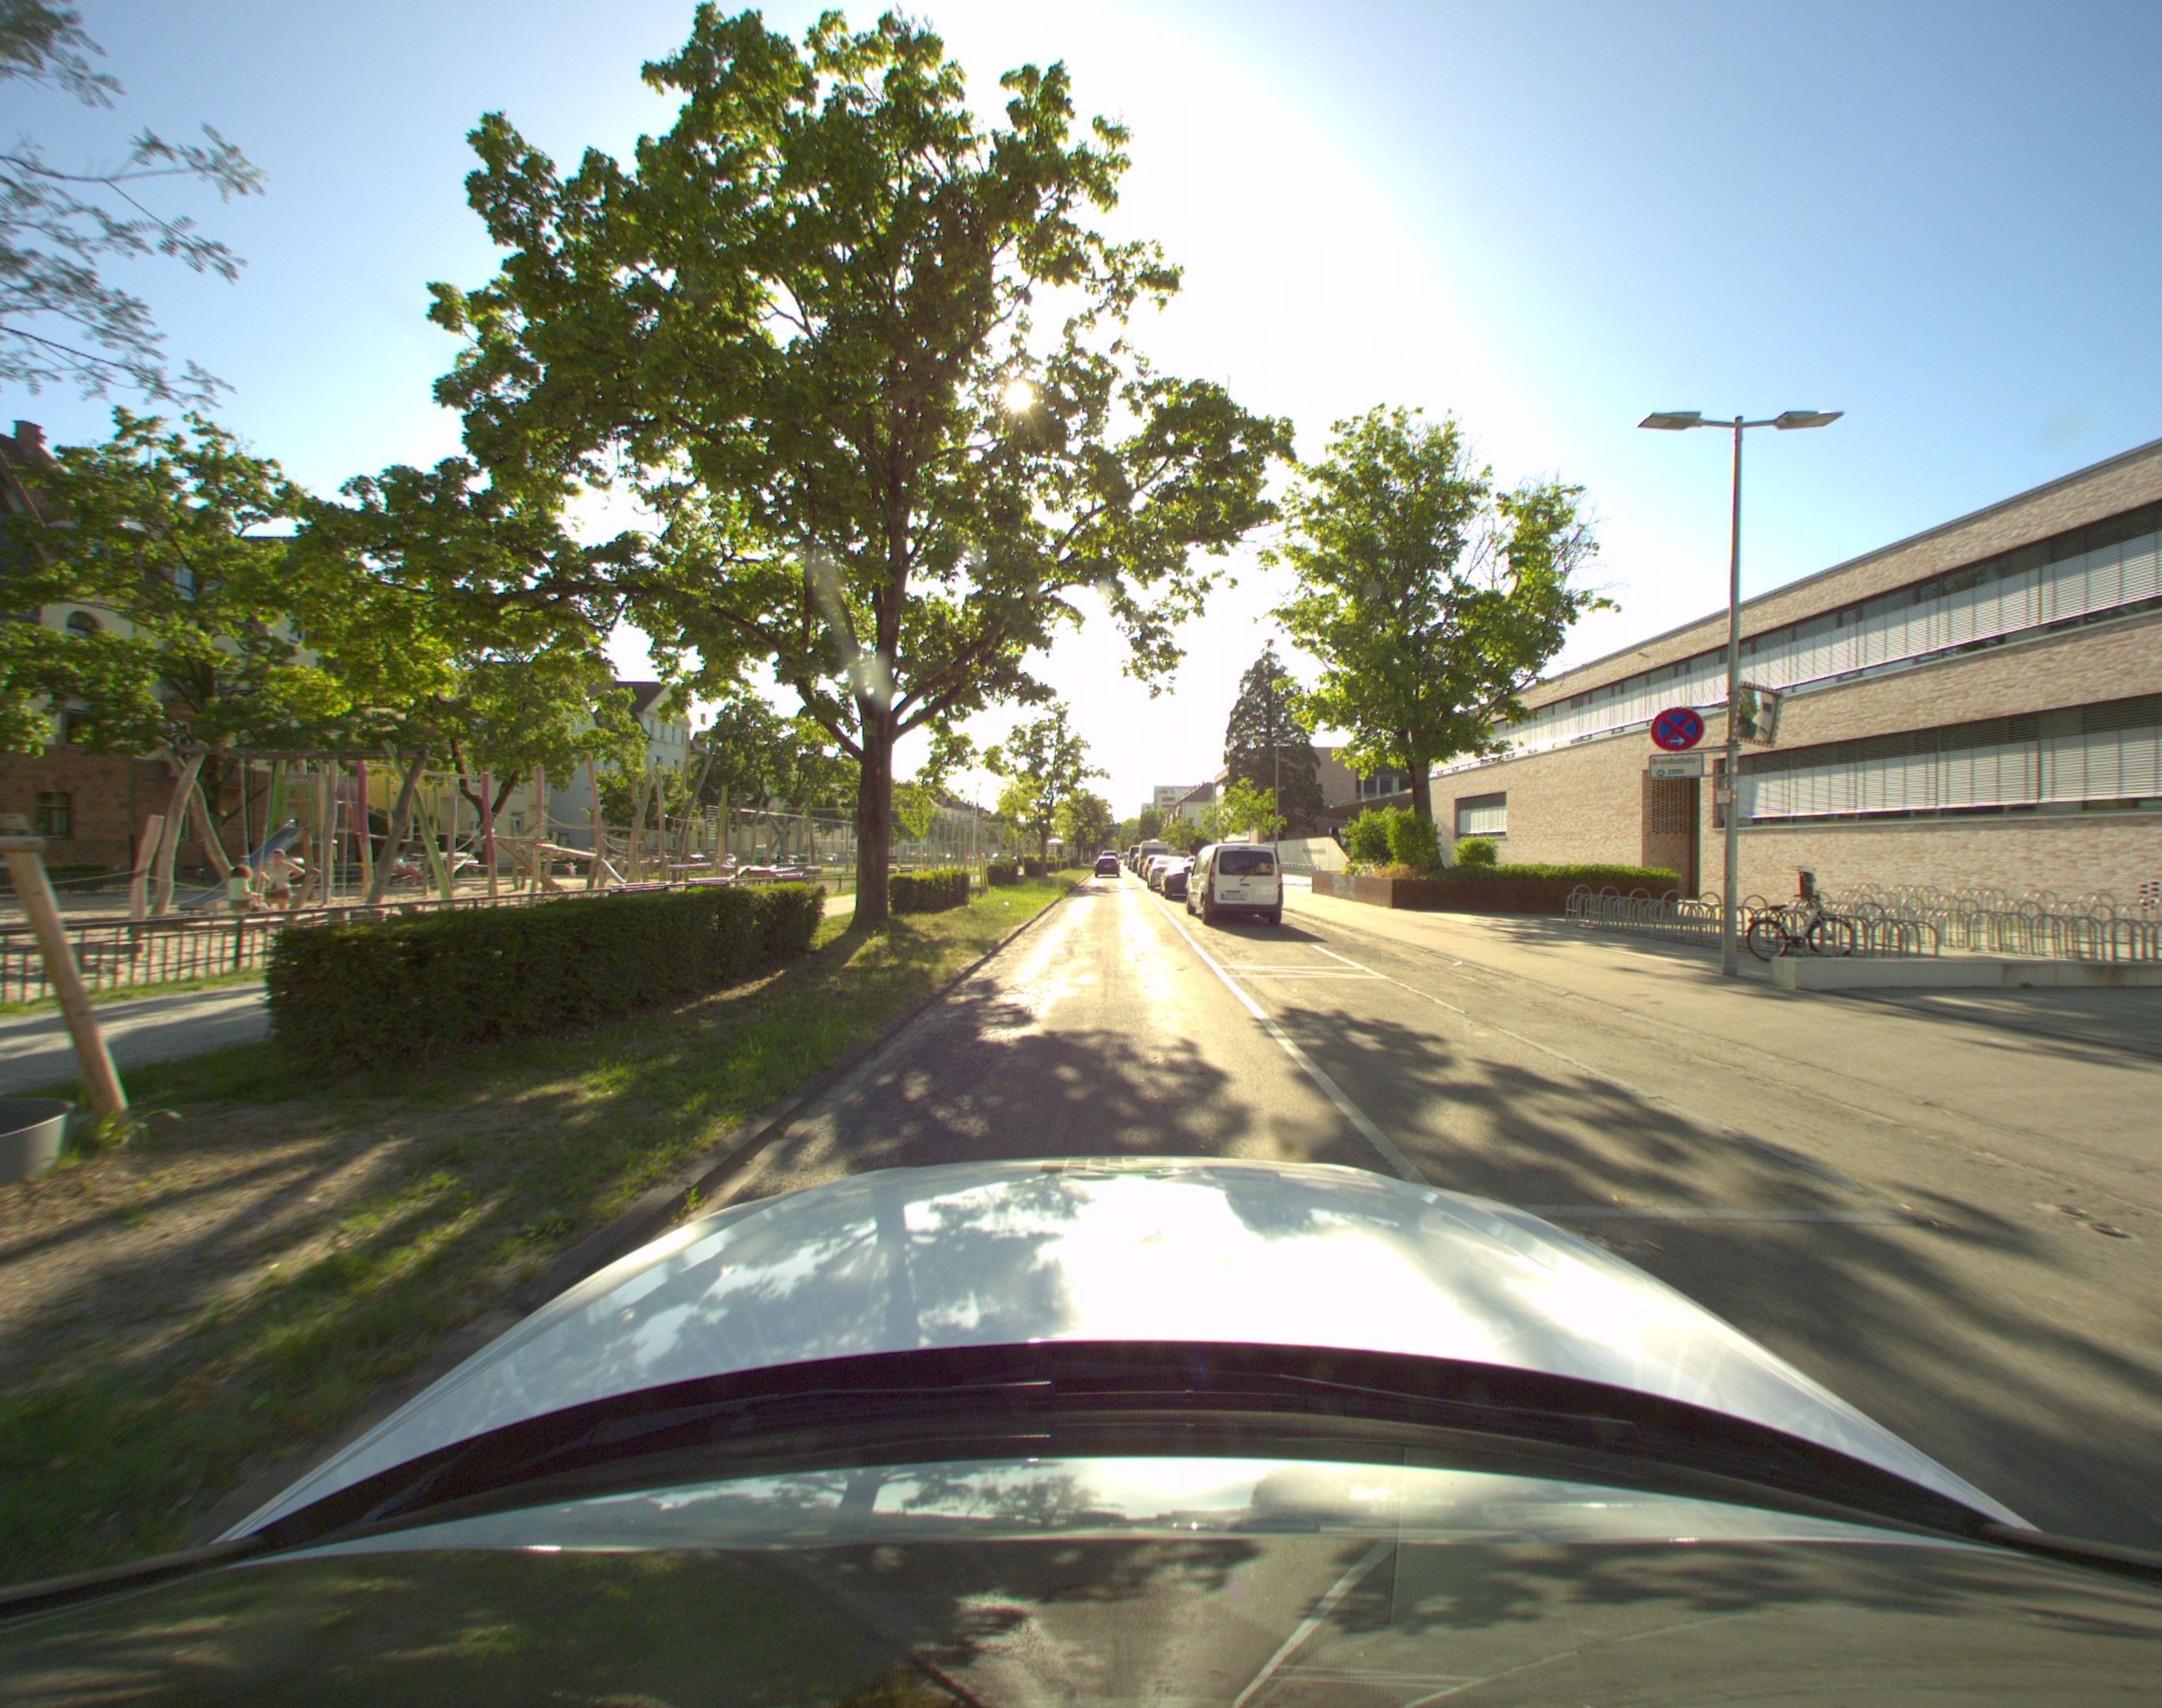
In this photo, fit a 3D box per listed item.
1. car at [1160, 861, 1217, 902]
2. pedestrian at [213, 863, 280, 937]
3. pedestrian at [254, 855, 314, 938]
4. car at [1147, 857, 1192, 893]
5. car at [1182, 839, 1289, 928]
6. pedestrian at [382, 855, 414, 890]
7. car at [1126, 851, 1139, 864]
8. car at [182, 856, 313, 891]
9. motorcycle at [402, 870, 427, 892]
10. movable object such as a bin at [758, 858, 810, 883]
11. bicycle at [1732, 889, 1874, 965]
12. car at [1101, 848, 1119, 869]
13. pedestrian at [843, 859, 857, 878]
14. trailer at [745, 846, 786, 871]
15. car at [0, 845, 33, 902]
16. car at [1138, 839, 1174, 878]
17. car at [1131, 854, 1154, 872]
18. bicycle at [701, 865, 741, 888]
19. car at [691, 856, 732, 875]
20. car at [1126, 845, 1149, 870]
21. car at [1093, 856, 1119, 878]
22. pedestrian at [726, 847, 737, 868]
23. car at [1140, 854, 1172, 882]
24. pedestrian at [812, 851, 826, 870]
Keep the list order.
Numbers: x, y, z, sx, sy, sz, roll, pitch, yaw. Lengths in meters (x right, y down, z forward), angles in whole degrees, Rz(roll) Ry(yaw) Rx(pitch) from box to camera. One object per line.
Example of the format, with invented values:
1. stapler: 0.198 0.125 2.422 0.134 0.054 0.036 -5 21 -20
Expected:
1. car: 3.867 0.959 29.883 1.695 1.325 4.131 1 0 2
2. pedestrian: -15.660 0.842 15.288 0.642 1.329 0.653 0 0 20
3. pedestrian: -16.355 0.847 16.714 0.642 1.661 0.653 0 0 20
4. car: 3.865 0.887 36.139 1.695 1.478 4.176 1 0 2
5. car: 3.635 0.644 19.942 1.802 1.908 4.462 1 0 1
6. pedestrian: -25.745 0.696 30.697 0.646 1.318 0.650 0 0 -1
7. car: 7.615 0.528 120.185 1.786 1.855 4.418 0 0 4
8. car: -37.989 0.840 37.279 1.787 1.510 4.002 0 0 2
9. motorcycle: -25.679 1.033 31.367 0.699 0.826 0.284 0 0 0
10. movable object such as a bin: -15.479 0.836 42.538 2.324 1.242 1.055 -1 0 -2
11. bicycle: 10.634 1.063 12.018 1.663 1.030 0.500 2 0 -1
12. car: 3.027 0.464 83.224 1.787 2.122 4.003 0 0 3
13. pedestrian: -16.117 1.010 56.882 0.642 1.318 0.654 0 0 31
14. trailer: -36.234 0.496 93.757 2.334 2.870 5.804 0 0 1
15. car: -38.098 0.671 26.431 1.787 1.982 4.838 0 0 2
16. car: 5.112 0.302 56.388 2.232 2.574 5.436 1 0 2
17. car: 5.537 0.790 74.101 1.839 1.640 4.505 0 0 1
18. bicycle: -18.249 1.145 41.261 1.788 1.107 0.500 0 0 0
19. car: -36.517 1.077 80.612 1.787 1.777 4.491 0 0 2
20. car: 5.913 0.345 86.203 2.108 2.515 6.533 0 0 1
21. car: 1.809 0.920 58.245 1.787 1.510 4.003 0 0 3
22. pedestrian: -28.384 0.280 66.143 0.645 1.661 0.650 -1 0 2
23. car: 4.497 0.821 49.012 1.614 1.588 3.591 0 0 0
24. pedestrian: -18.223 0.431 56.645 0.642 1.318 0.654 0 0 31
